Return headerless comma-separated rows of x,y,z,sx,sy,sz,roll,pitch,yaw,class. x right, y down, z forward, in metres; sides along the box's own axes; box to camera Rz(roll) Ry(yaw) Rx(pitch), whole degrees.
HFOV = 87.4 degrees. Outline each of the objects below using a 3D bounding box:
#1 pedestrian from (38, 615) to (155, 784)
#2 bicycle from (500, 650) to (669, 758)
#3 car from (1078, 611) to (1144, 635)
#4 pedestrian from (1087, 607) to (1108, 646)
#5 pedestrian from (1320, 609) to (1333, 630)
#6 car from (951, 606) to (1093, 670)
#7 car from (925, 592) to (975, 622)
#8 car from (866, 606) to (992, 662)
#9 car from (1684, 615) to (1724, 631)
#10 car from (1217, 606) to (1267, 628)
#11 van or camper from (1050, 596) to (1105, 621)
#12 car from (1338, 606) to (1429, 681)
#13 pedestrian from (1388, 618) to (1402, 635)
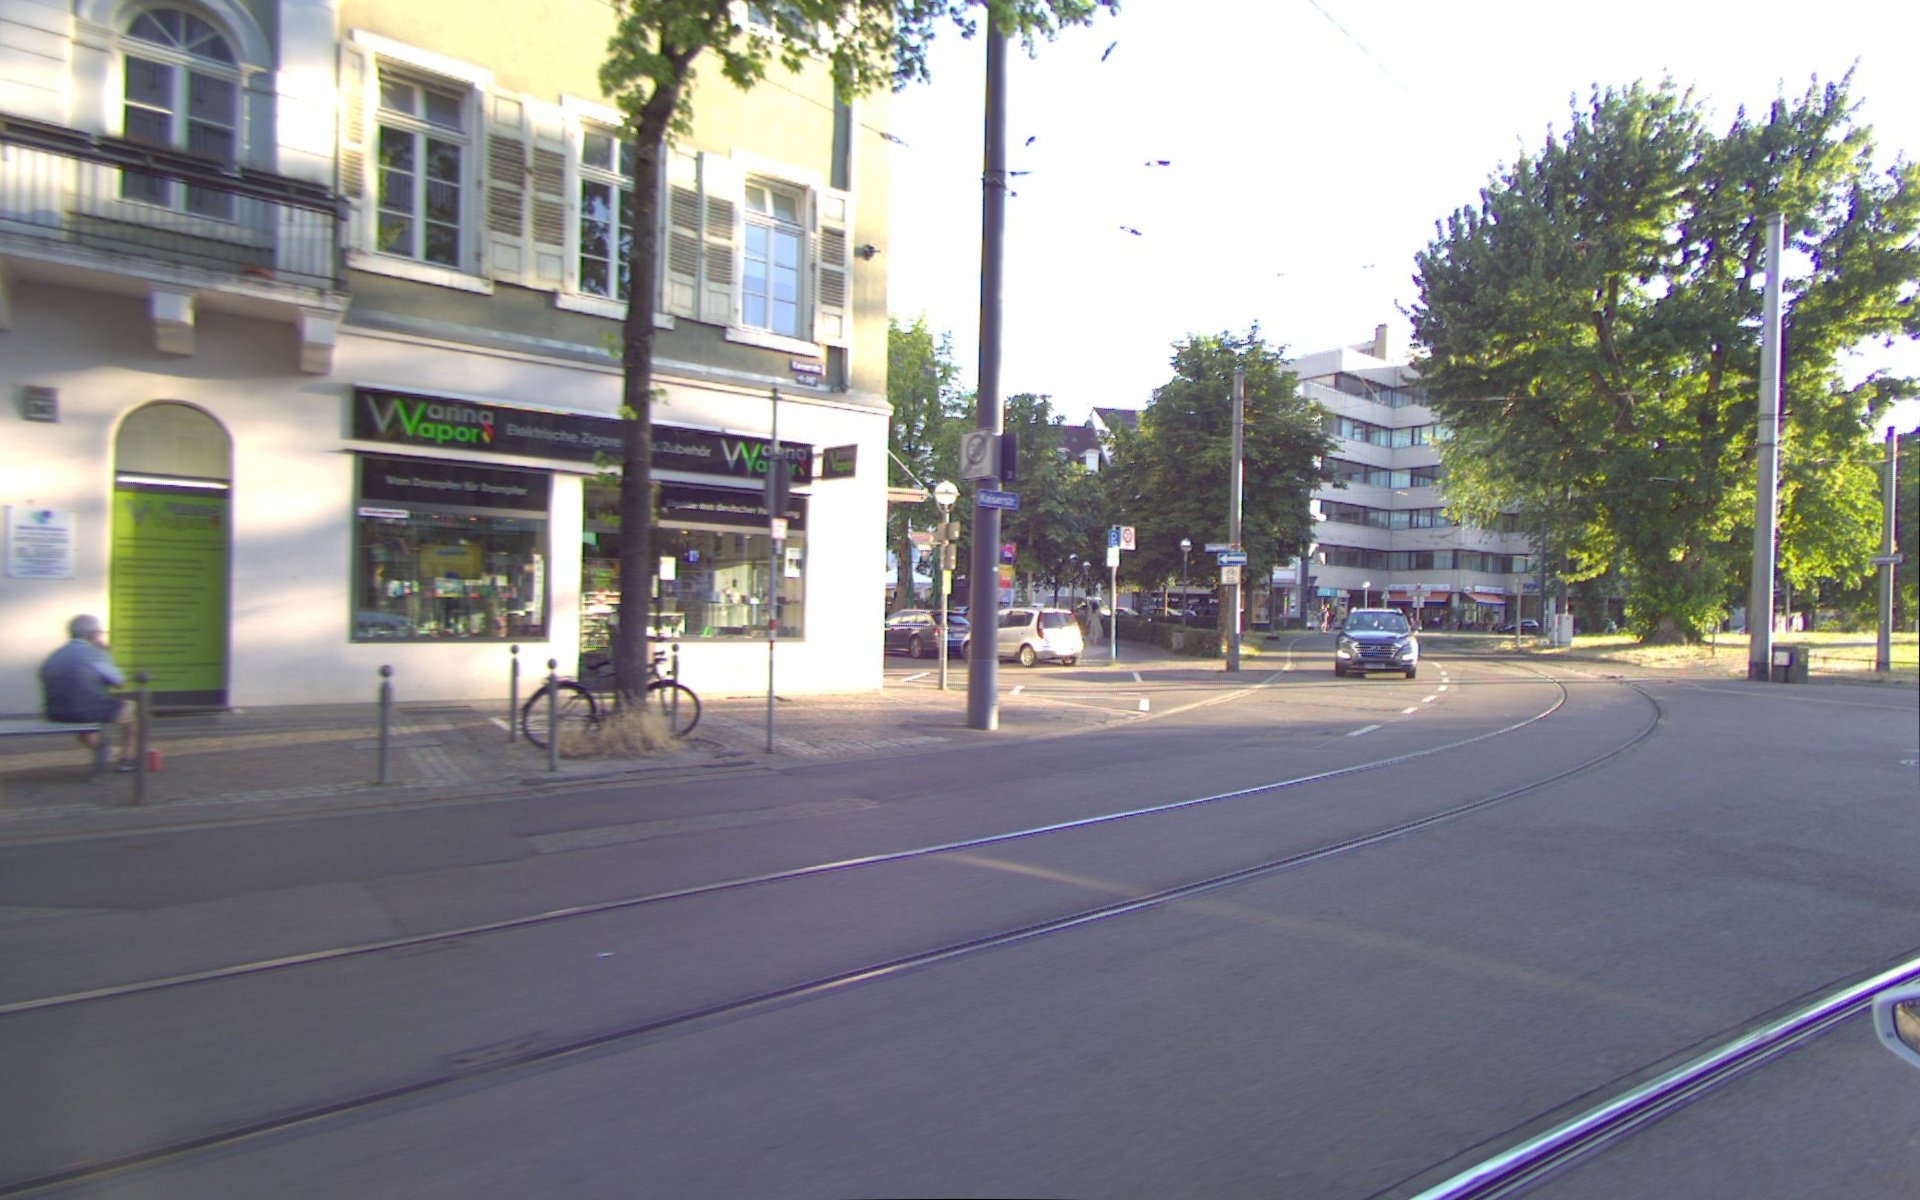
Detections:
-6.618,0.734,7.729,0.636,1.210,0.586,1,1,-38,pedestrian
-3.633,0.983,9.785,1.495,0.958,0.334,1,0,-35,bicycle
7.542,1.124,50.030,1.698,1.133,3.242,0,0,45,car
5.093,0.963,37.305,0.730,1.429,0.772,1,0,7,pedestrian
27.663,1.466,75.839,0.734,1.523,0.768,1,0,39,pedestrian
1.599,0.971,27.252,1.712,1.535,3.958,1,0,-36,car
-0.670,0.437,64.811,1.970,1.806,3.980,1,0,-21,car
-1.020,0.991,30.869,1.881,1.535,4.098,1,0,-36,car
70.277,2.211,94.875,3.884,1.439,1.866,1,0,-34,car
23.659,1.448,84.317,3.606,1.726,1.776,1,0,-9,car
8.225,0.590,70.378,1.745,1.662,3.650,1,0,-40,van or camper
10.523,1.013,25.213,1.931,1.699,4.358,0,0,21,car
37.809,2.308,87.302,0.758,1.523,0.743,1,0,-12,pedestrian
